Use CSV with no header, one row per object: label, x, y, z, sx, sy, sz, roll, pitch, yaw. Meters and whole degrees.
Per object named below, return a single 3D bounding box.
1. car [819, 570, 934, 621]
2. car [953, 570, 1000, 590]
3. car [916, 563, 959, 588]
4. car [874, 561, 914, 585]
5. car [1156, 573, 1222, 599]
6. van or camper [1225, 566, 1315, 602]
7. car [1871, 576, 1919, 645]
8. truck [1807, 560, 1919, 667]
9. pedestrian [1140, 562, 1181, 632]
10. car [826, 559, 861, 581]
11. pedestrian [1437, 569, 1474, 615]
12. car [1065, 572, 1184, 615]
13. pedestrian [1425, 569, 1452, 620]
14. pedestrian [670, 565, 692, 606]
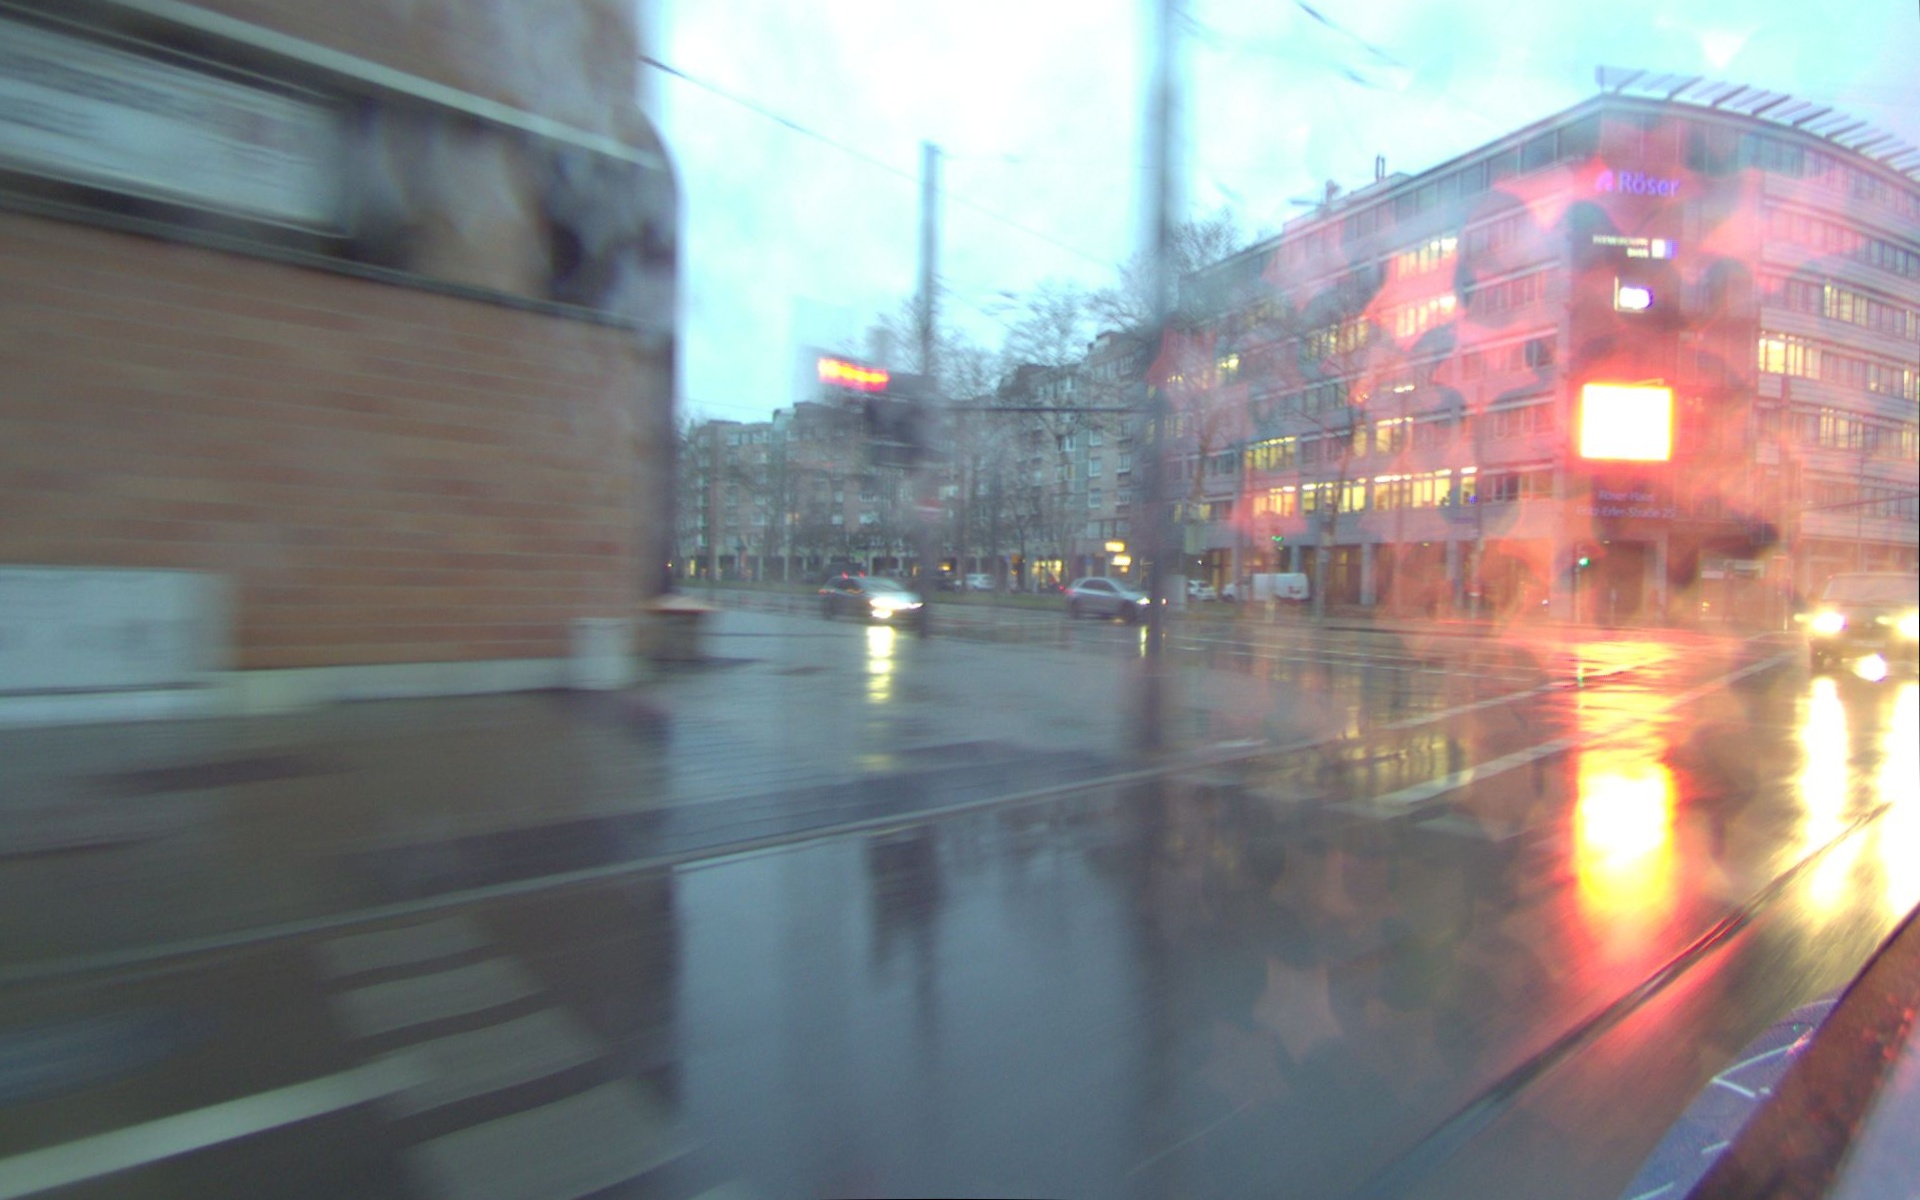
car,-2.684,-0.189,31.727,1.780,1.326,3.996,0,4,-35
car,1.254,-1.633,80.605,1.807,1.450,4.003,0,3,-33
car,-1.936,-2.055,85.100,1.807,1.974,4.003,0,2,-33
car,-5.884,-2.409,89.970,1.807,1.974,4.003,0,2,-33
car,14.141,-0.854,62.653,1.612,1.547,3.843,0,1,-36
van or camper,17.675,-0.936,57.896,1.807,1.953,4.747,0,1,-36
car,27.841,0.299,28.435,4.593,1.842,1.913,0,0,-28
truck,18.711,0.253,20.217,4.533,1.941,1.909,1,-1,-39
pedestrian,5.283,-0.100,26.689,0.722,1.809,0.735,0,1,-41
car,-11.332,-2.926,98.354,1.807,1.974,4.003,0,2,-33
pedestrian,20.056,-0.322,40.984,1.148,1.809,0.765,2,1,43
car,5.640,-0.256,35.035,1.780,1.357,3.995,0,2,-35
pedestrian,17.493,-0.212,37.004,0.790,1.833,0.647,1,1,19
pedestrian,-9.787,-0.503,35.495,0.721,1.406,0.741,1,1,-17
